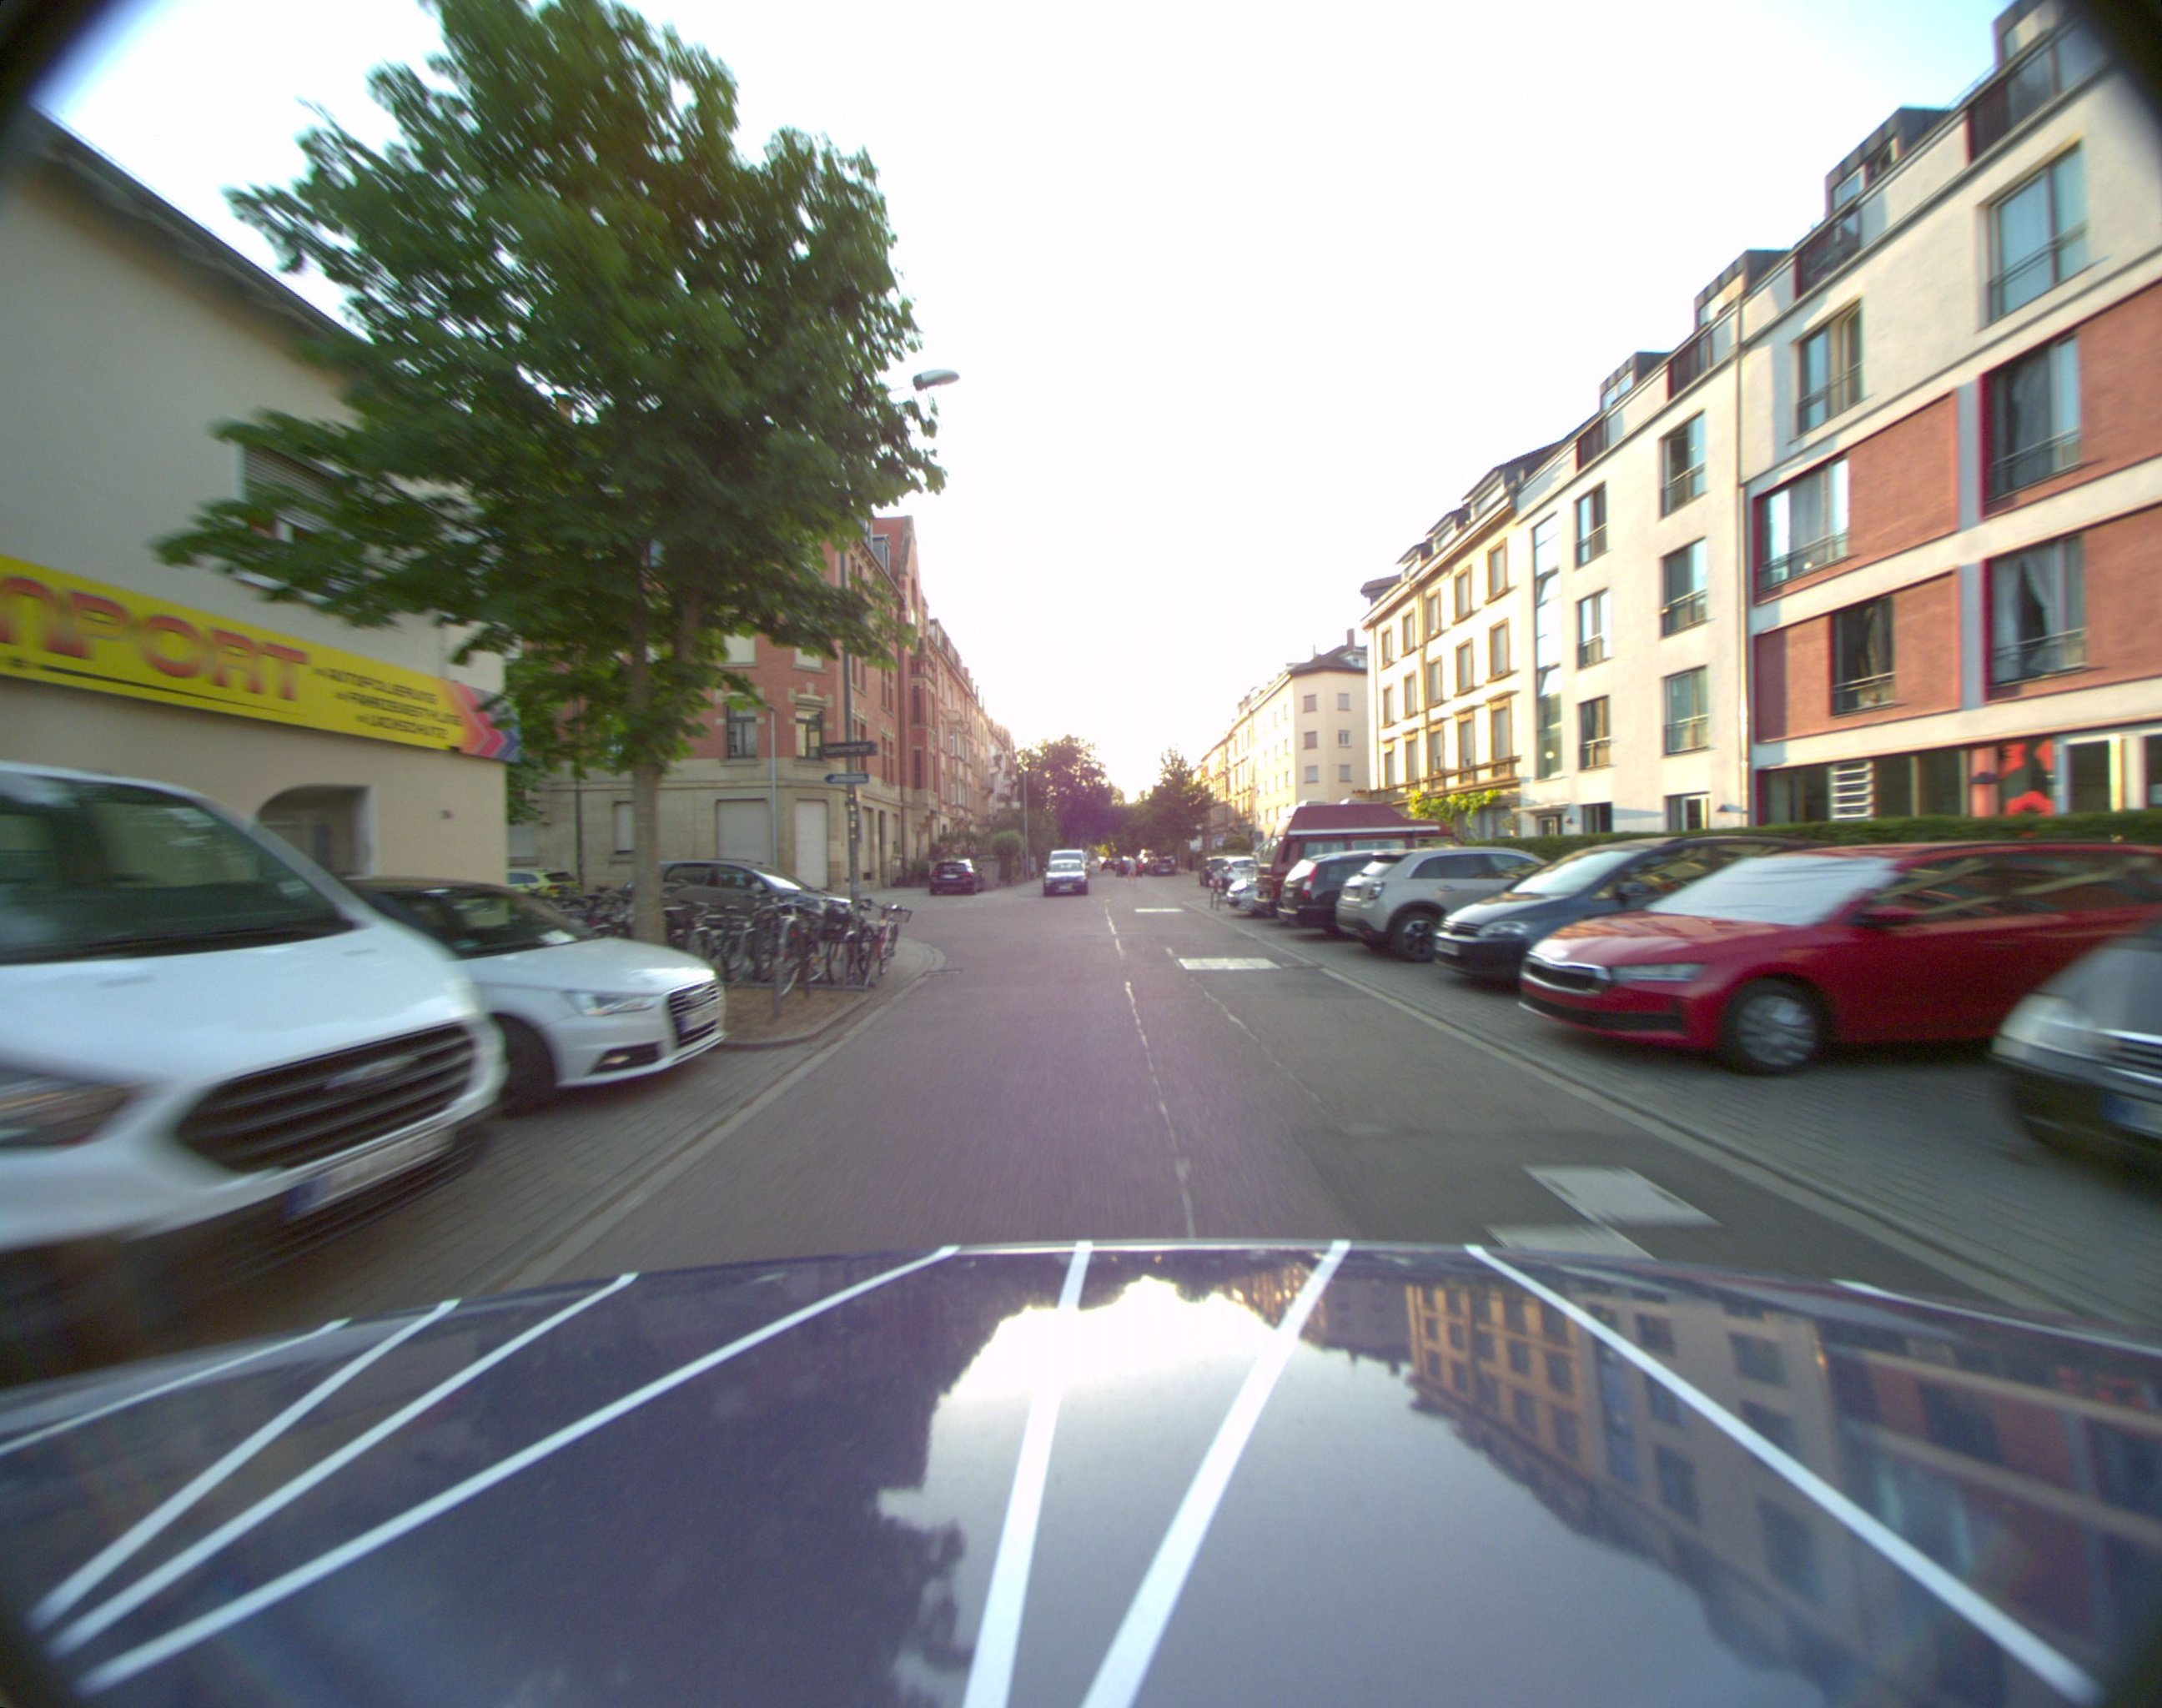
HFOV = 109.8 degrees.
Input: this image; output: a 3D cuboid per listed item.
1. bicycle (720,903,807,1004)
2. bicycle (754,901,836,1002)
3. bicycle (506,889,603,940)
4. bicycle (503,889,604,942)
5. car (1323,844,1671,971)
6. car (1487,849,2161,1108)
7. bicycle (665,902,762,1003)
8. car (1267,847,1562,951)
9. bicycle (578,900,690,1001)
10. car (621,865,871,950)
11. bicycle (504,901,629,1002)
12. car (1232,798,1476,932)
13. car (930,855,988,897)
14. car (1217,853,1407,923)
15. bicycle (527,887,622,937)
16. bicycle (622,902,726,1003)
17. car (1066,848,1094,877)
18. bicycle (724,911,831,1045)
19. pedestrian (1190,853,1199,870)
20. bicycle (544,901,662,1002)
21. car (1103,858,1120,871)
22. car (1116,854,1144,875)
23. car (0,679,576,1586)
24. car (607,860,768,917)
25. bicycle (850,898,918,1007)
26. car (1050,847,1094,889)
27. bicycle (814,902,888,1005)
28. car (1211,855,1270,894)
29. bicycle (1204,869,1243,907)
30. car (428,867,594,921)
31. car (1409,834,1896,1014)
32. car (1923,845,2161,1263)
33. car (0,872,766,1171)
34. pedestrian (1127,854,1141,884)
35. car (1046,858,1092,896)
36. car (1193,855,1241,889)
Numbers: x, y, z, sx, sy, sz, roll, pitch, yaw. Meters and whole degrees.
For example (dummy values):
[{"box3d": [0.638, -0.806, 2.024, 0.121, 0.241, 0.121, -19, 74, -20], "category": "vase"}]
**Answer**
[{"box3d": [-3.928, 1.186, 9.516, 0.357, 1.018, 1.784, -2, 0, -2], "category": "bicycle"}, {"box3d": [-3.531, 1.164, 9.519, 0.357, 1.018, 1.827, -2, 0, -2], "category": "bicycle"}, {"box3d": [-11.784, 1.345, 17.041, 1.821, 1.056, 0.447, -2, 1, 0], "category": "bicycle"}, {"box3d": [-11.419, 1.330, 16.480, 1.821, 1.056, 0.477, -2, 0, 0], "category": "bicycle"}, {"box3d": [5.735, 0.712, 10.868, 3.958, 1.531, 1.755, -2, 1, 2], "category": "car"}, {"box3d": [5.597, 0.765, 5.564, 4.273, 1.485, 1.788, -2, 1, 1], "category": "car"}, {"box3d": [-4.557, 1.177, 9.540, 0.357, 1.018, 1.784, -2, 0, -2], "category": "bicycle"}, {"box3d": [5.636, 0.728, 13.221, 4.347, 1.515, 1.705, -2, 1, 0], "category": "car"}, {"box3d": [-5.518, 1.147, 9.497, 0.357, 1.018, 1.784, -2, 0, -2], "category": "bicycle"}, {"box3d": [-6.293, 0.959, 14.555, 3.995, 1.482, 1.805, 0, 0, 5], "category": "car"}, {"box3d": [-6.346, 1.158, 9.481, 0.357, 1.018, 1.784, -2, 0, -2], "category": "bicycle"}, {"box3d": [5.585, 0.216, 15.979, 4.412, 2.542, 1.932, -2, 1, 1], "category": "car"}, {"box3d": [-4.952, 0.855, 31.389, 1.800, 1.515, 3.999, -2, 0, -2], "category": "car"}, {"box3d": [5.566, 0.778, 18.560, 3.989, 1.408, 1.803, -3, 1, -6], "category": "car"}, {"box3d": [-11.686, 1.328, 17.564, 1.821, 1.056, 0.482, -2, 1, 0], "category": "bicycle"}, {"box3d": [-5.037, 1.175, 9.517, 0.357, 1.018, 1.784, -2, 0, -2], "category": "bicycle"}, {"box3d": [-0.108, 0.613, 57.098, 1.999, 2.002, 3.999, -2, 0, -2], "category": "car"}, {"box3d": [-2.925, 1.141, 7.489, 0.357, 1.018, 1.784, -2, 0, -2], "category": "bicycle"}, {"box3d": [10.367, 0.665, 69.413, 0.645, 1.525, 0.638, -1, 1, 2], "category": "pedestrian"}, {"box3d": [-5.896, 1.154, 9.481, 0.357, 1.018, 1.784, -2, 0, -2], "category": "bicycle"}, {"box3d": [3.785, 1.287, 93.813, 1.891, 1.513, 4.000, -1, 0, 0], "category": "car"}, {"box3d": [3.713, 0.768, 57.642, 1.762, 1.478, 3.783, 0, 0, -2], "category": "car"}, {"box3d": [-4.942, 0.688, 2.604, 4.971, 2.089, 2.151, -2, 1, 4], "category": "car"}, {"box3d": [-12.938, 1.104, 25.209, 4.344, 1.656, 1.779, -2, 1, -2], "category": "car"}, {"box3d": [-2.430, 1.171, 9.553, 0.357, 1.093, 1.971, -2, 0, -2], "category": "bicycle"}, {"box3d": [-0.479, 0.642, 36.868, 1.939, 1.893, 4.054, -2, 0, -2], "category": "car"}, {"box3d": [-2.833, 1.182, 9.514, 0.357, 1.018, 1.971, -2, 0, -2], "category": "bicycle"}, {"box3d": [6.889, 0.845, 33.123, 1.679, 1.502, 3.582, -3, 0, -2], "category": "car"}, {"box3d": [4.414, 1.029, 23.696, 0.805, 1.047, 2.415, -2, 0, 1], "category": "bicycle"}, {"box3d": [-18.653, 1.275, 25.003, 3.998, 1.556, 1.830, -2, 1, -2], "category": "car"}, {"box3d": [5.880, 0.680, 8.205, 3.895, 1.608, 1.700, -2, 1, 2], "category": "car"}, {"box3d": [5.860, 0.713, 2.824, 3.540, 1.554, 1.784, -2, 0, -2], "category": "car"}, {"box3d": [-4.616, 1.003, 5.300, 4.043, 1.557, 1.721, -2, 1, 0], "category": "car"}, {"box3d": [2.790, 0.791, 39.832, 0.601, 1.565, 0.639, -1, 1, -6], "category": "pedestrian"}, {"box3d": [-0.499, 0.909, 31.113, 1.733, 1.367, 3.762, -2, 0, -2], "category": "car"}, {"box3d": [6.762, 0.839, 38.110, 1.597, 1.513, 3.737, -3, 0, -2], "category": "car"}]
